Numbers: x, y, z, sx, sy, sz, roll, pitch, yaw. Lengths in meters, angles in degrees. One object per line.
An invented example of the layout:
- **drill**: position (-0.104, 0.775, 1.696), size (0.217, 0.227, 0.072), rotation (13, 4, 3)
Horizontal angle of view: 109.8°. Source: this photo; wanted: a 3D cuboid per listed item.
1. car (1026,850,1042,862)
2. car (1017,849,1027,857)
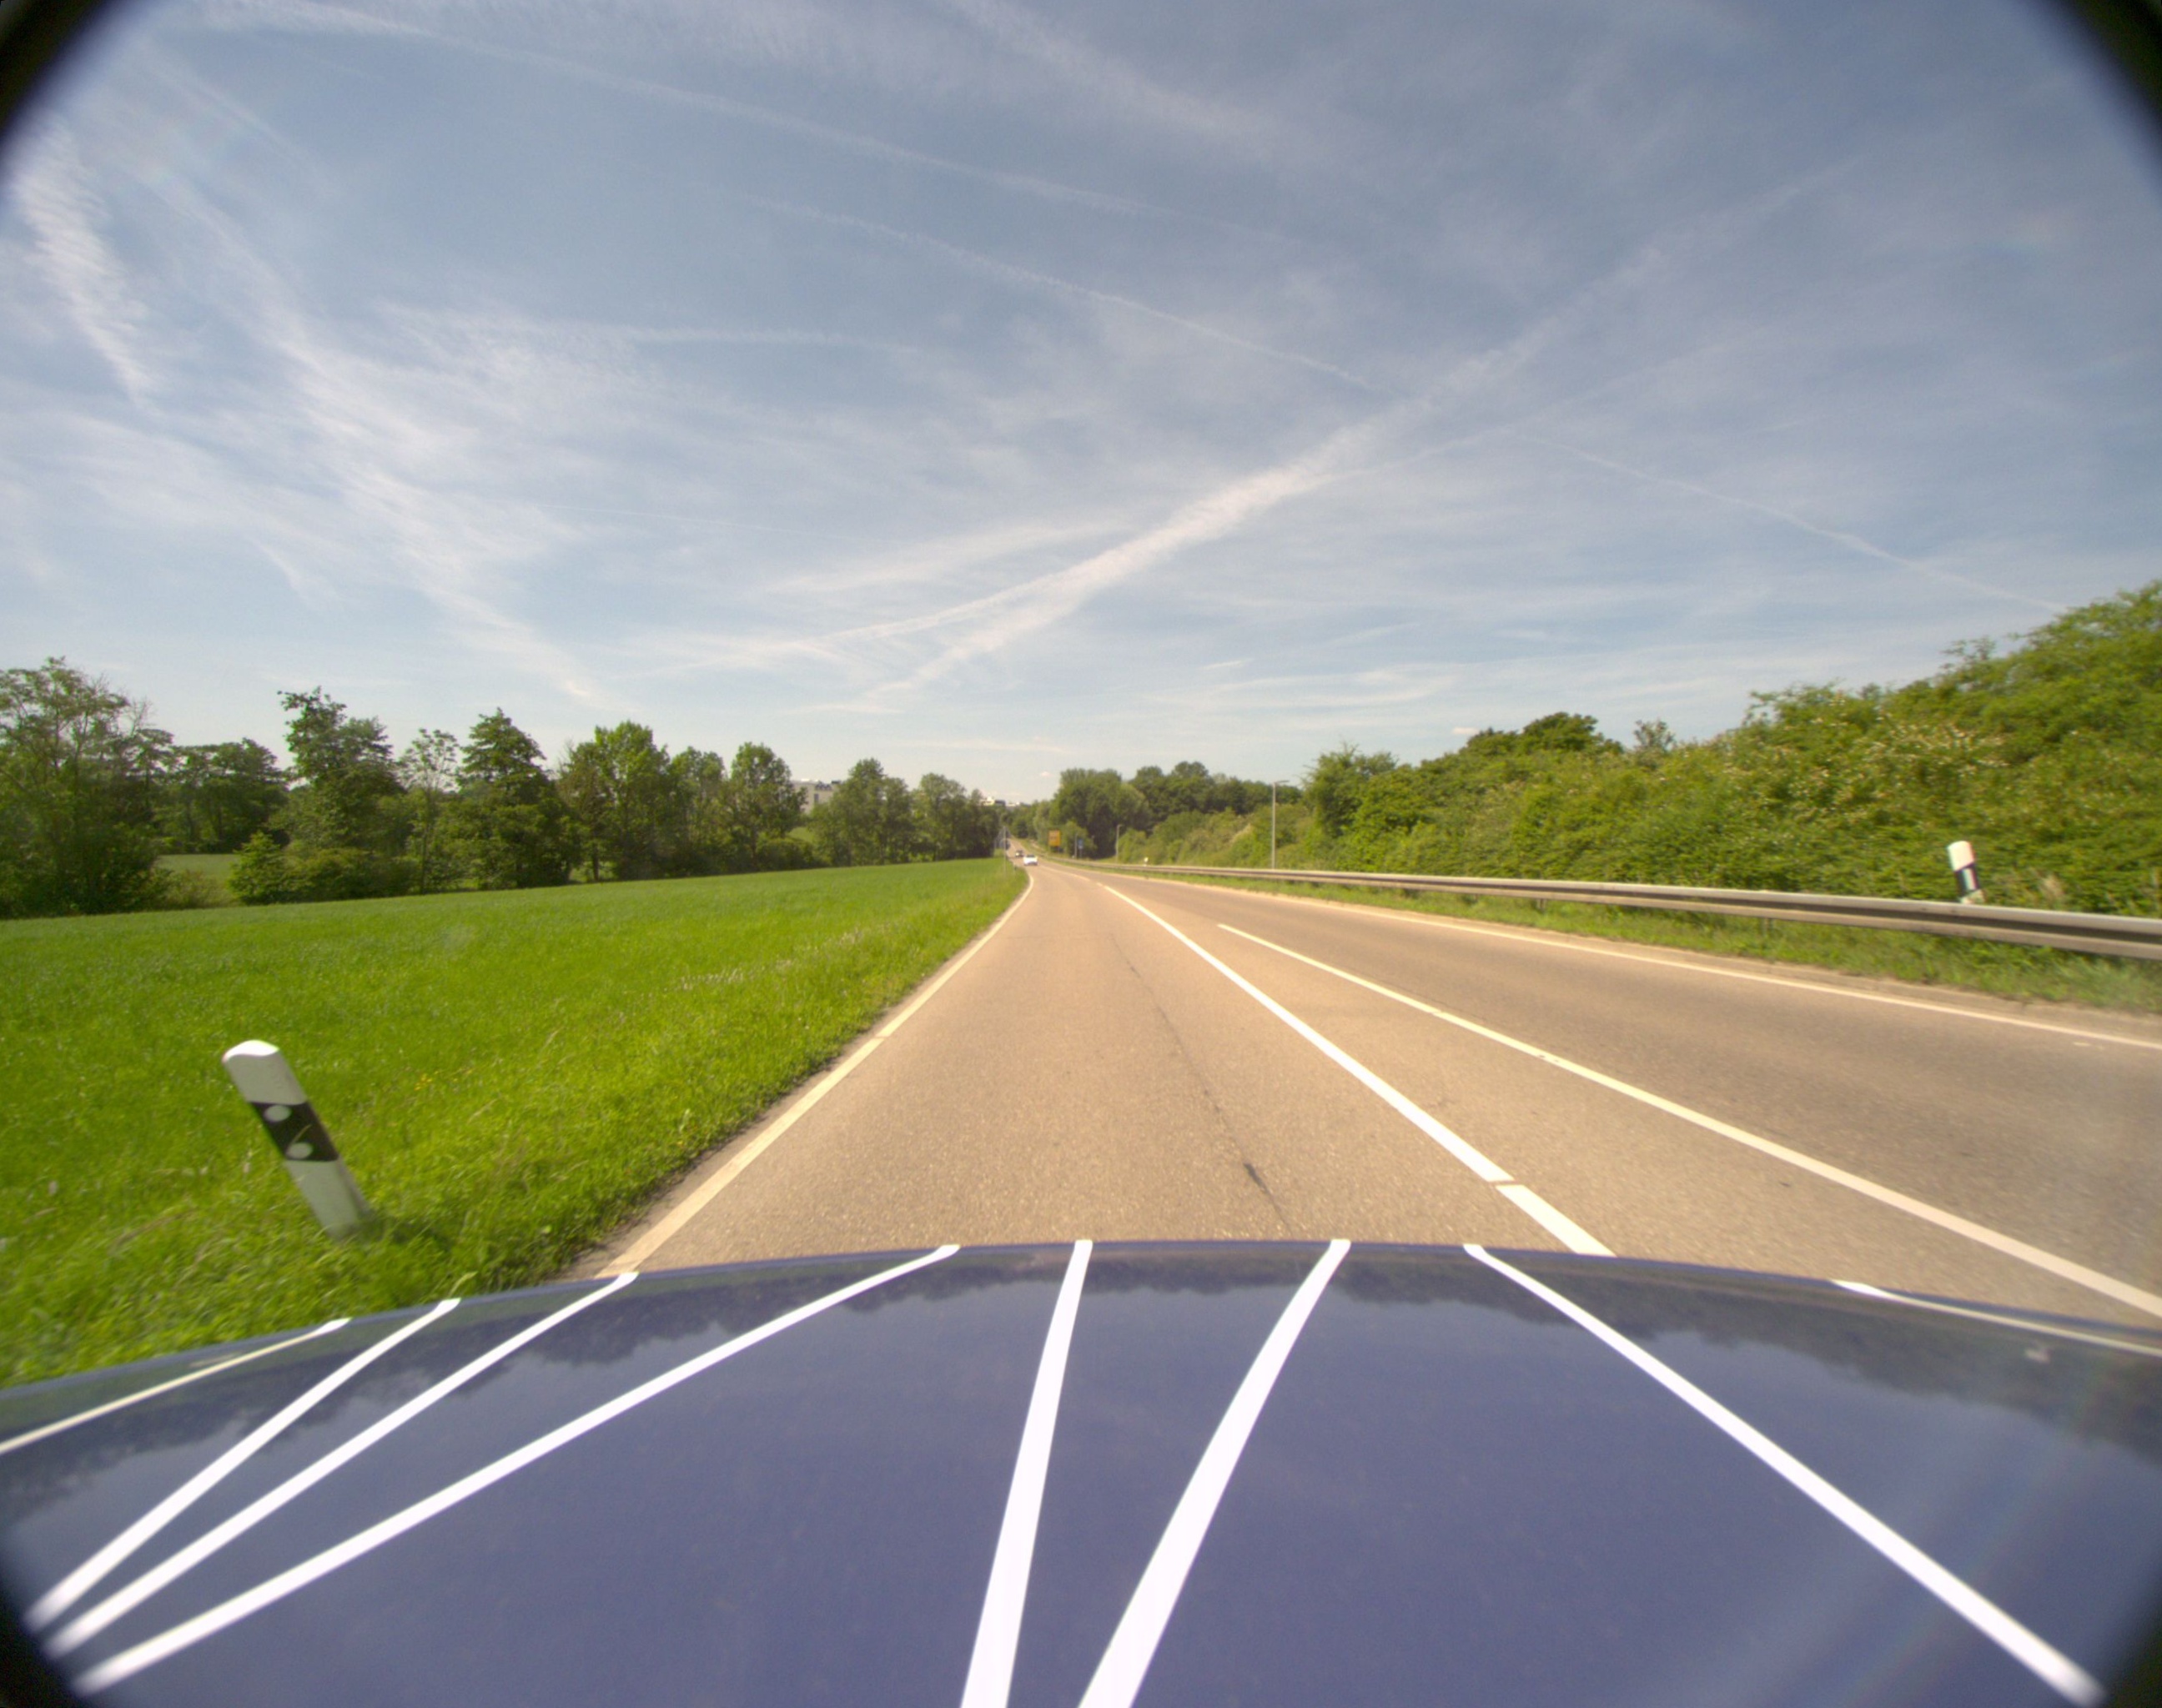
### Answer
- **car**: position (-6.412, 0.258, 104.125), size (1.999, 1.576, 3.999), rotation (-2, 0, -2)
- **car**: position (-12.915, -0.164, 166.859), size (2.000, 1.576, 3.997), rotation (-2, 0, -6)
